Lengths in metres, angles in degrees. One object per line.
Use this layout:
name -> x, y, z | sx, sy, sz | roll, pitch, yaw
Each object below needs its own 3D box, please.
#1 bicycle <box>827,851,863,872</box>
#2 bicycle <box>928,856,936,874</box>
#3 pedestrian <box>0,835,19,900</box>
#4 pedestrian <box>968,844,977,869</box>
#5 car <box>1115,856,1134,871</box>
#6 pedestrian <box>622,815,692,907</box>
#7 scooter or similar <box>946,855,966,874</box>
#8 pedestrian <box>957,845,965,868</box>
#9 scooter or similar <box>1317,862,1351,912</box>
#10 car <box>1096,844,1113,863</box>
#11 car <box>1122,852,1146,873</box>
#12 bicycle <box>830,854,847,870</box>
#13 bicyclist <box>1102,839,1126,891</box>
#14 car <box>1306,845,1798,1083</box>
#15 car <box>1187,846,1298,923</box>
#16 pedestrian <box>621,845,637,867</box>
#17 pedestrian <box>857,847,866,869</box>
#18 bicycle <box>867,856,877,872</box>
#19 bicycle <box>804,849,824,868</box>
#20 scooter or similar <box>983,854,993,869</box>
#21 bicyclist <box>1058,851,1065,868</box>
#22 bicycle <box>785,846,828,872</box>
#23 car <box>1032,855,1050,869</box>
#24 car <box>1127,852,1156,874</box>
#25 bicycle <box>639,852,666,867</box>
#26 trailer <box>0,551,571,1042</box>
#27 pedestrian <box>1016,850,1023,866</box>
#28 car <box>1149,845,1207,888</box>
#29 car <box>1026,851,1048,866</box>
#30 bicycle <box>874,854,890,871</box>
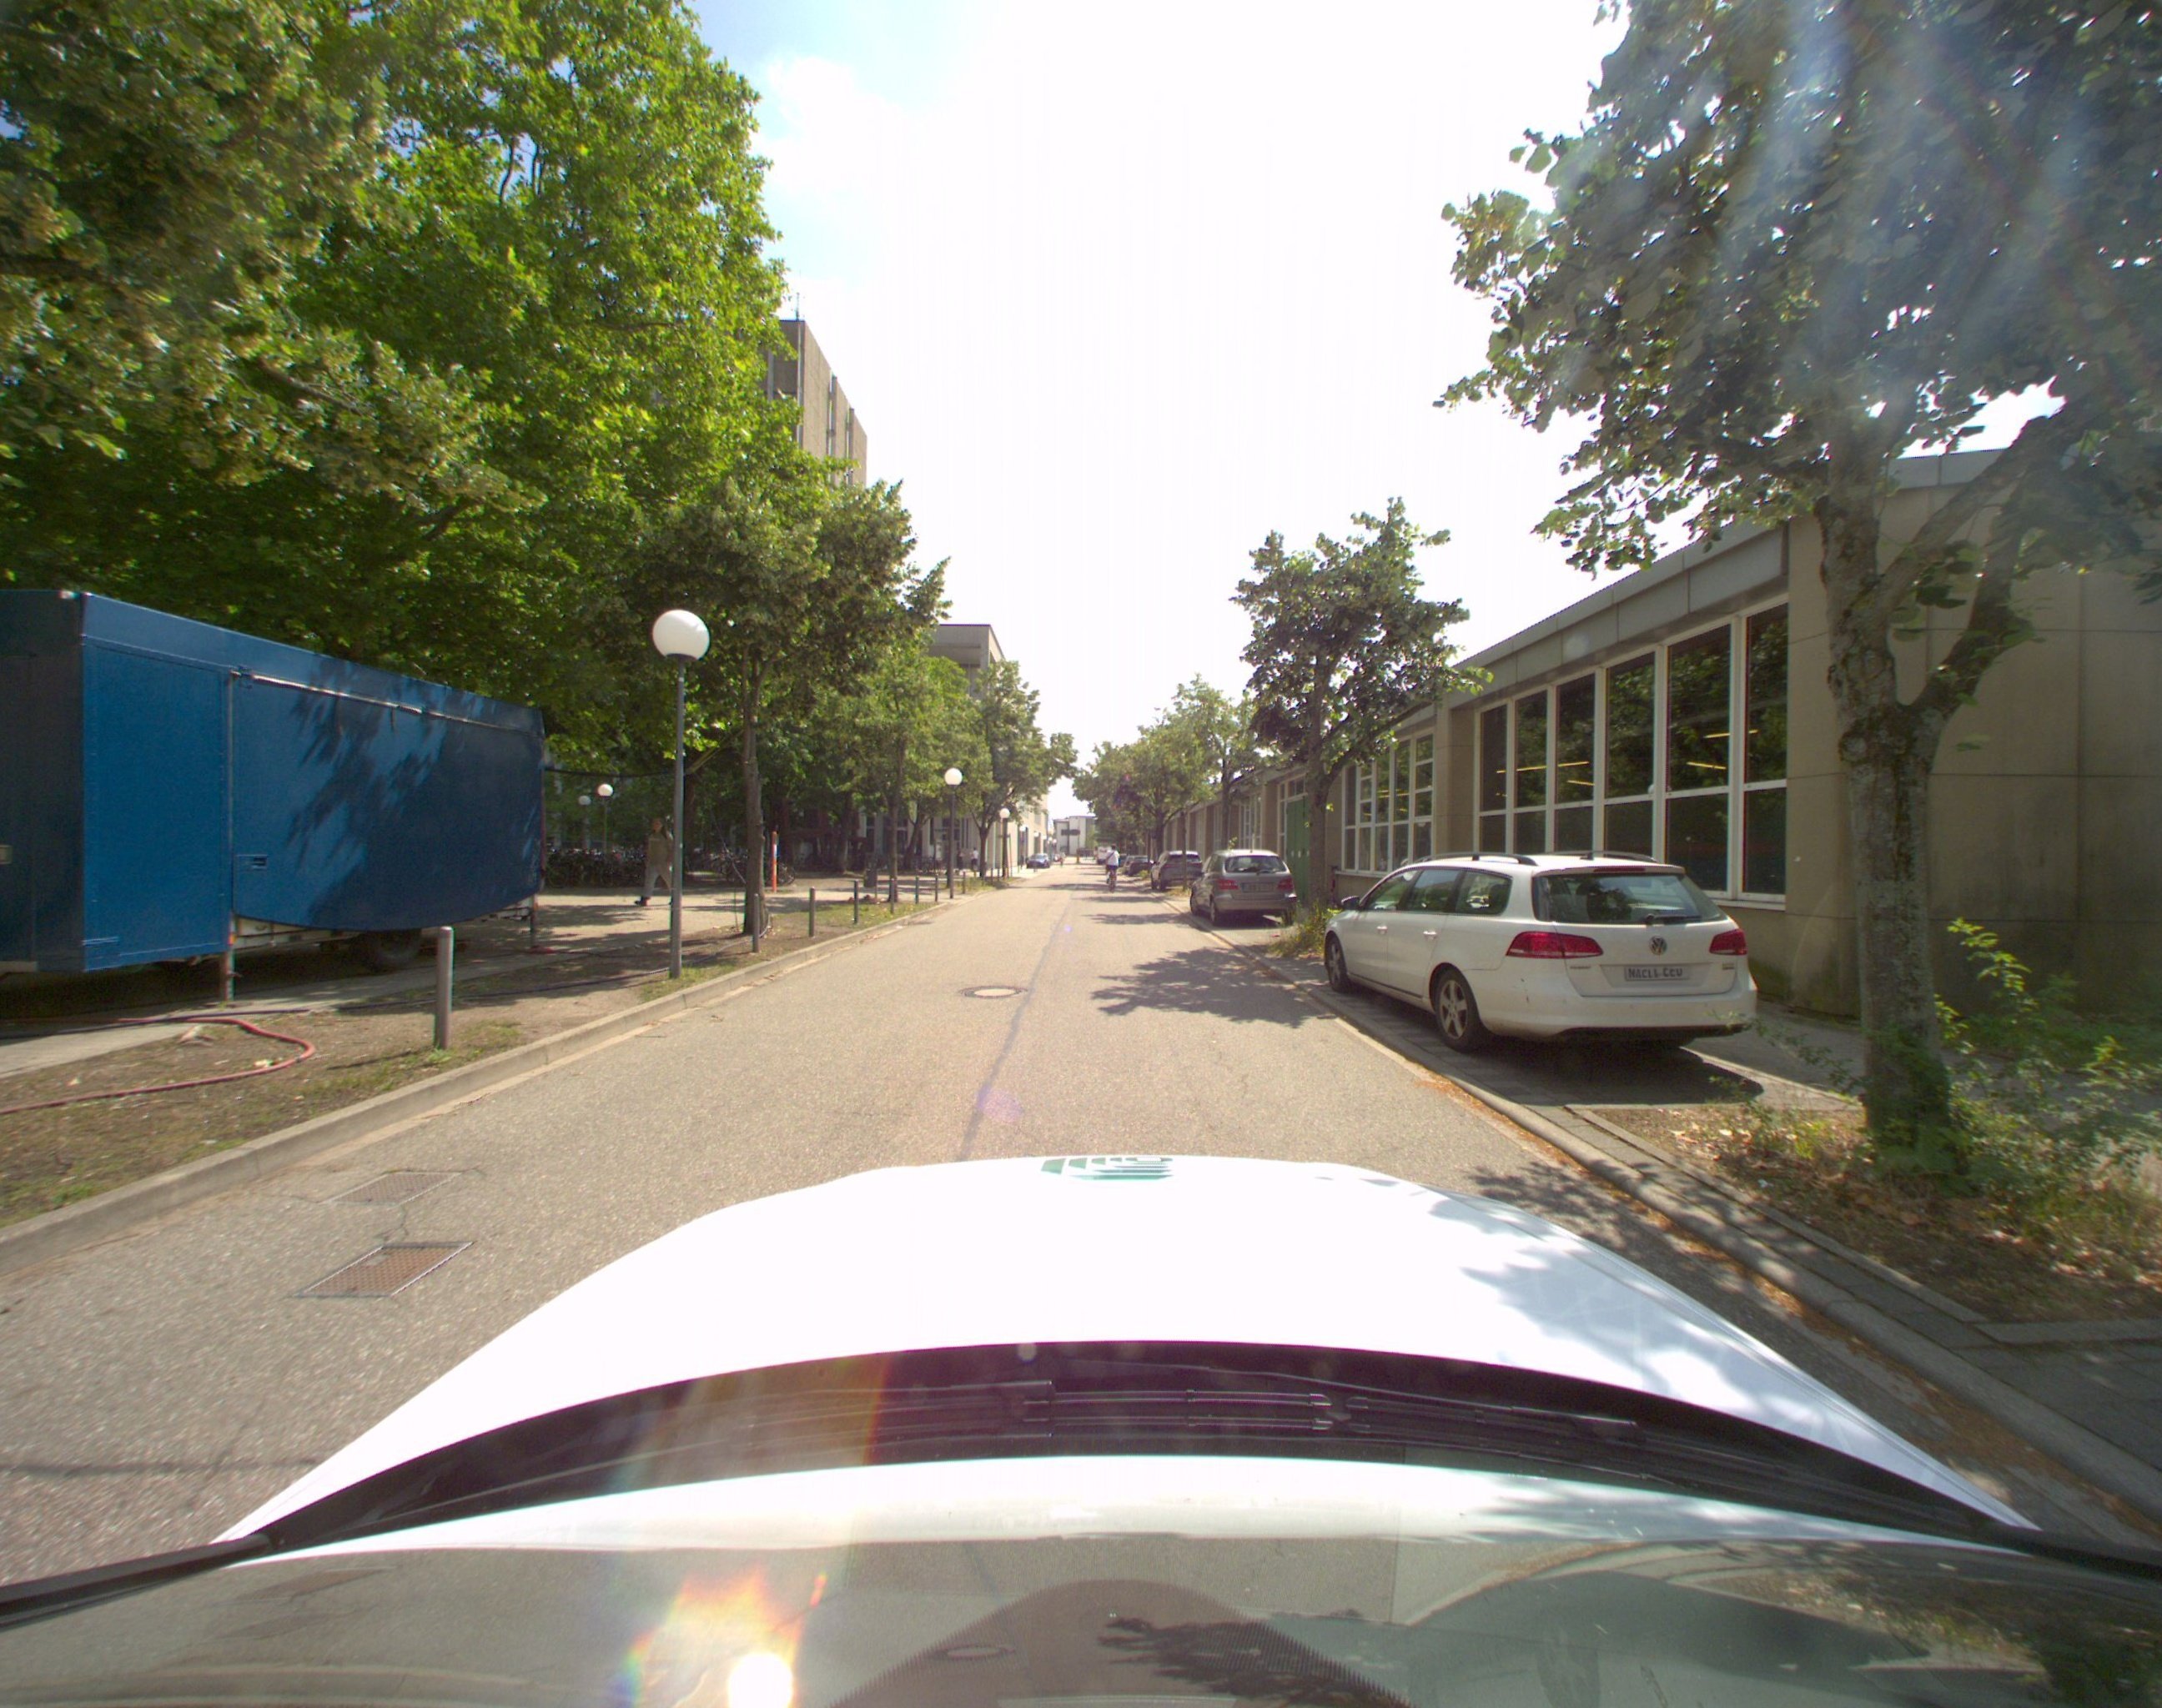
bicycle -> -14.234, 0.450, 49.202 | 2.028, 1.254, 0.581 | 0, 0, -32
bicycle -> -8.880, 0.664, 48.524 | 0.382, 1.025, 1.808 | 1, 0, -11
pedestrian -> -23.815, 0.287, 17.807 | 0.505, 1.422, 0.459 | 2, 0, -10
pedestrian -> -8.277, 0.181, 62.364 | 0.415, 1.942, 0.657 | 2, -1, -29
car -> 4.607, 0.957, 85.836 | 1.852, 1.574, 4.001 | 0, 0, 1
pedestrian -> -9.355, 0.152, 18.001 | 0.912, 1.954, 0.894 | 3, -1, 10
scooter or similar -> -7.529, 0.636, 49.044 | 0.335, 1.176, 1.336 | 1, 0, 35
pedestrian -> -9.330, 0.179, 63.108 | 0.444, 1.775, 0.447 | 2, 0, -30
scooter or similar -> 6.500, 0.831, 20.955 | 0.414, 1.217, 1.493 | 0, 0, 1
car -> 3.227, -0.026, 112.826 | 2.077, 2.539, 4.315 | 2, 0, 0
car -> 4.100, 0.630, 63.322 | 1.611, 1.538, 3.780 | 1, 0, 1
bicycle -> -15.594, 0.510, 52.314 | 0.474, 1.032, 1.850 | 1, 0, 1
bicyclist -> 1.309, 0.427, 32.414 | 0.870, 2.014, 0.849 | 1, -1, 0
car -> 3.589, 0.681, 7.406 | 1.720, 1.467, 4.669 | 0, 0, -1
car -> 3.591, 0.637, 18.828 | 1.699, 1.574, 4.138 | 0, 0, -1
pedestrian -> -34.500, 0.158, 62.125 | 0.824, 1.593, 0.598 | 1, 0, 2
pedestrian -> -17.179, 0.312, 63.747 | 0.633, 1.661, 0.692 | 1, 0, -10
bicycle -> -12.923, 0.632, 50.345 | 0.475, 0.965, 1.650 | 1, 0, -10
bicycle -> -17.816, 0.312, 54.402 | 0.523, 1.253, 2.382 | 0, 0, 2
scooter or similar -> -7.375, 0.583, 64.677 | 0.452, 1.223, 1.550 | 1, 0, 4
bicyclist -> -2.234, 0.642, 93.698 | 0.709, 2.014, 1.018 | 0, 0, -2
bicycle -> -16.183, 0.292, 47.973 | 2.299, 1.450, 0.601 | 1, -1, -33
car -> -4.228, 0.861, 86.678 | 1.625, 1.485, 4.178 | 1, -1, 1
car -> 4.282, 0.608, 57.944 | 1.775, 1.476, 4.462 | -1, 0, 0
bicycle -> -27.622, 0.345, 52.533 | 0.548, 0.871, 2.645 | 2, 0, -6
trailer -> -7.987, -0.382, 7.311 | 2.687, 3.026, 6.266 | 2, 0, 0
pedestrian -> -6.405, 0.402, 84.917 | 0.650, 1.701, 0.886 | 2, -1, -10
car -> 4.002, 0.529, 34.299 | 1.817, 1.664, 4.581 | -1, -1, -1
car -> -4.398, 0.482, 81.336 | 1.759, 1.427, 4.236 | 1, -1, 2
bicycle -> -13.401, 0.579, 54.947 | 0.550, 1.086, 1.973 | 3, 0, 1
